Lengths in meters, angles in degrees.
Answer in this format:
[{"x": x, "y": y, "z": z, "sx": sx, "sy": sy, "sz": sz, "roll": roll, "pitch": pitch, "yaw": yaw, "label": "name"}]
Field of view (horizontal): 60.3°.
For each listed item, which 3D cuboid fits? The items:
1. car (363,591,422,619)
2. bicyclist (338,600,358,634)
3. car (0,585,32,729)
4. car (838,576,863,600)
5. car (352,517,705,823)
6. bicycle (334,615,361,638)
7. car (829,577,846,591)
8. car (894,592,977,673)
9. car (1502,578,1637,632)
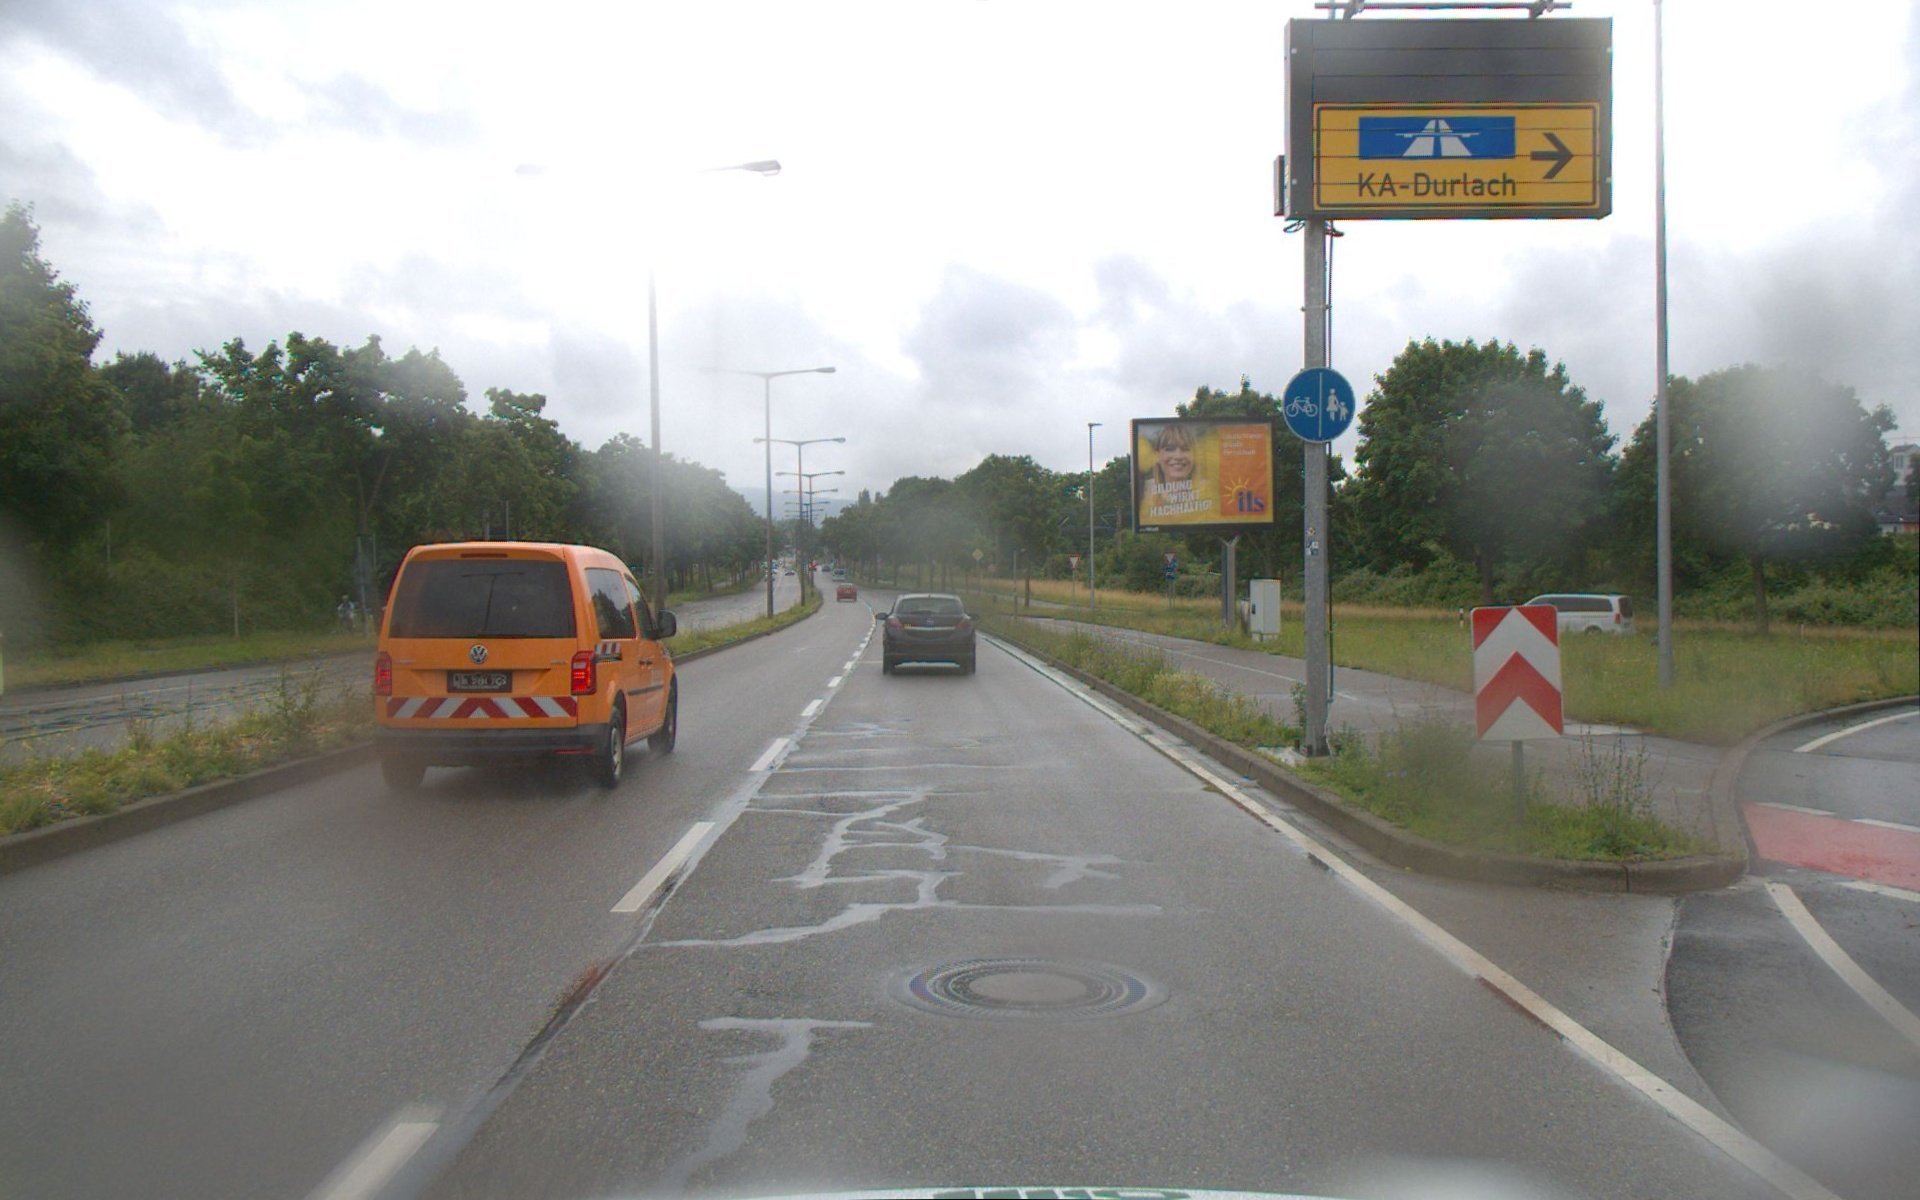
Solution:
[{"x": -43.015, "y": 0.359, "z": 125.414, "sx": 3.914, "sy": 2.048, "sz": 1.996, "roll": -1, "pitch": 1, "yaw": -10, "label": "car"}, {"x": -24.168, "y": 0.656, "z": 65.287, "sx": 0.511, "sy": 1.325, "sz": 0.808, "roll": 0, "pitch": 0, "yaw": -2, "label": "bicyclist"}, {"x": -11.854, "y": 0.708, "z": 17.422, "sx": 1.673, "sy": 1.658, "sz": 4.490, "roll": -3, "pitch": 1, "yaw": -2, "label": "car"}, {"x": -9.035, "y": -0.999, "z": 136.583, "sx": 1.953, "sy": 1.912, "sz": 3.999, "roll": 0, "pitch": 0, "yaw": -2, "label": "car"}, {"x": -3.319, "y": 0.469, "z": 13.728, "sx": 1.699, "sy": 2.054, "sz": 4.848, "roll": 1, "pitch": 0, "yaw": -1, "label": "car"}, {"x": -24.171, "y": 1.040, "z": 65.282, "sx": 0.511, "sy": 0.901, "sz": 1.633, "roll": 0, "pitch": 0, "yaw": -2, "label": "bicycle"}, {"x": -19.121, "y": -2.477, "z": 257.716, "sx": 2.467, "sy": 2.088, "sz": 5.287, "roll": -1, "pitch": 0, "yaw": -5, "label": "car"}, {"x": -0.491, "y": 0.564, "z": 30.577, "sx": 1.433, "sy": 1.352, "sz": 3.757, "roll": 0, "pitch": 1, "yaw": -2, "label": "car"}, {"x": 23.310, "y": 0.178, "z": 63.277, "sx": 4.513, "sy": 2.009, "sz": 2.059, "roll": 0, "pitch": 0, "yaw": 34, "label": "car"}]
